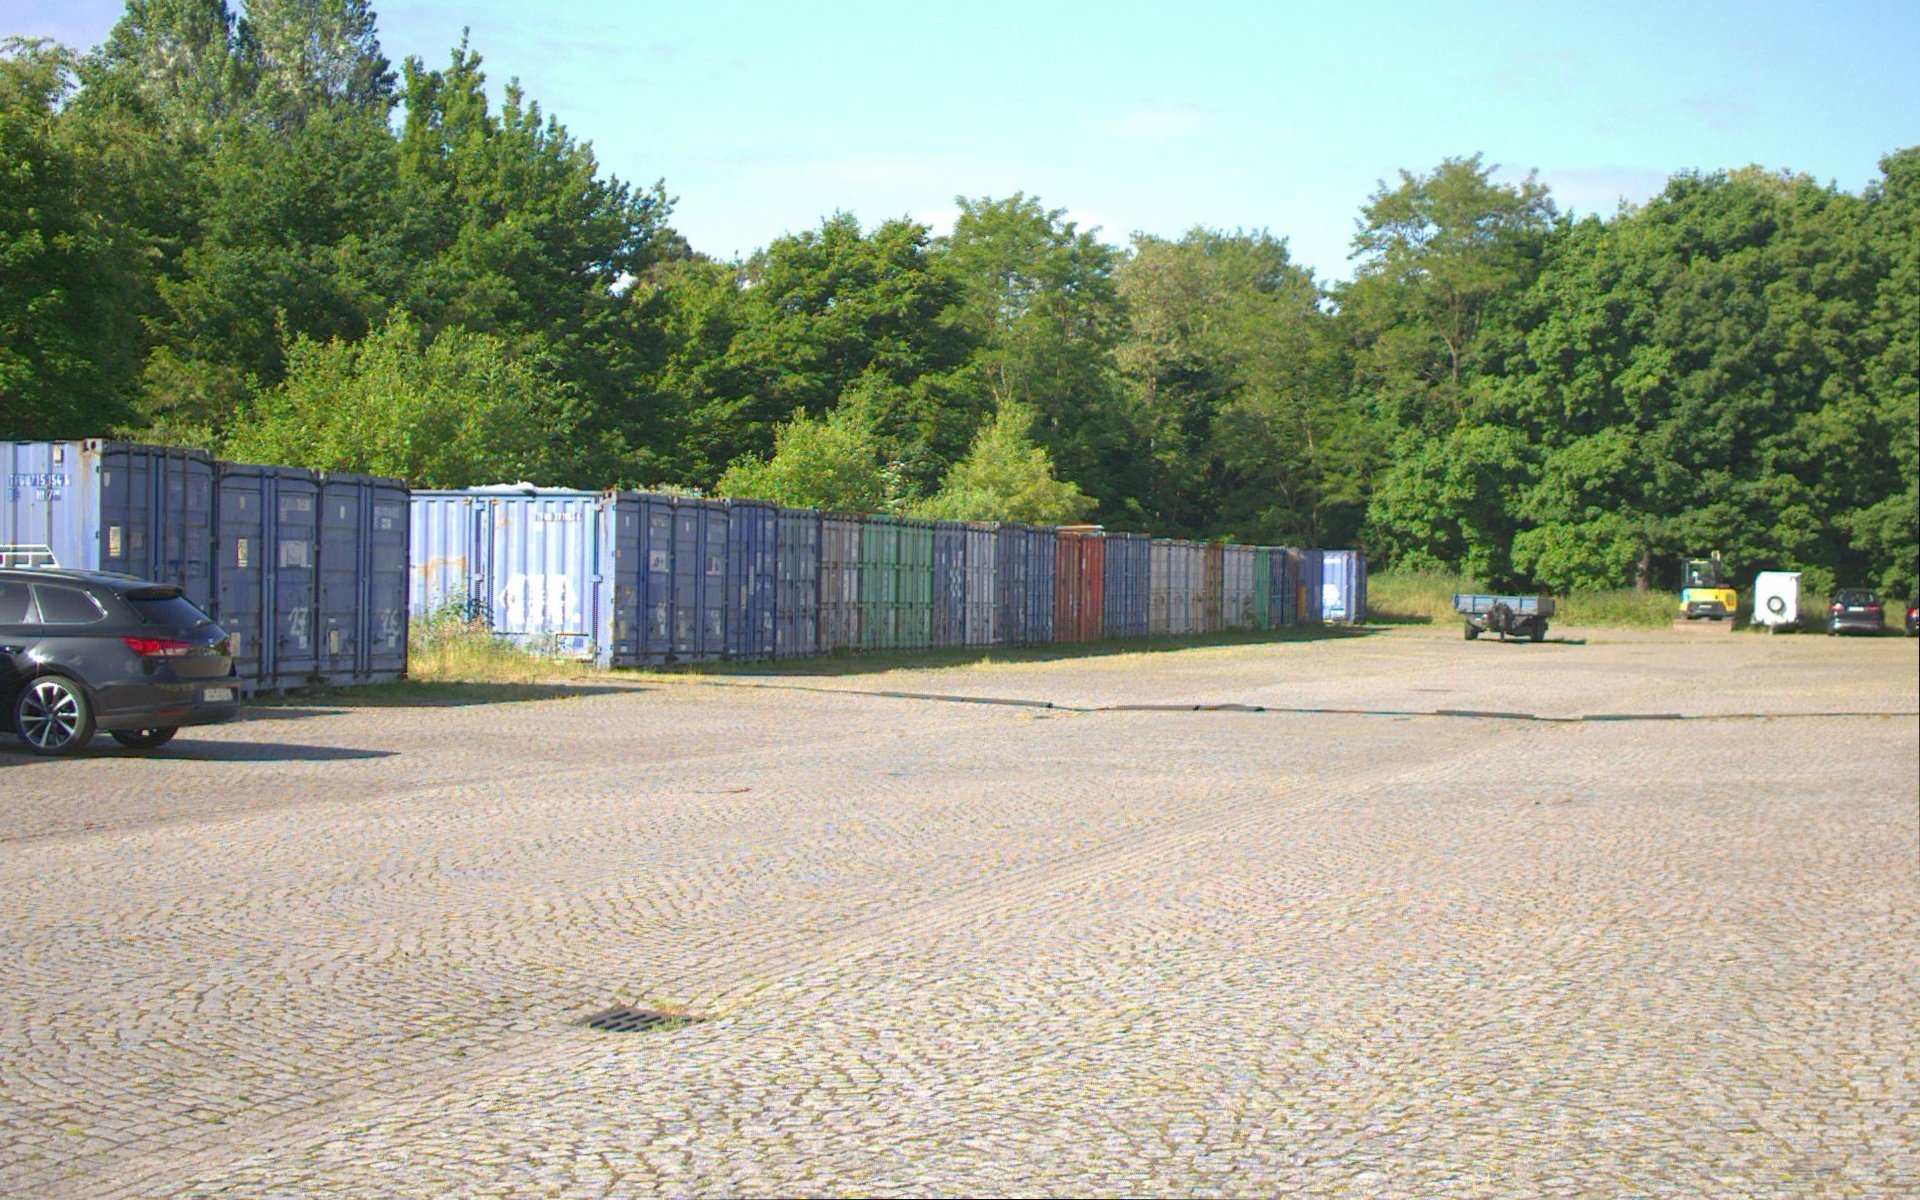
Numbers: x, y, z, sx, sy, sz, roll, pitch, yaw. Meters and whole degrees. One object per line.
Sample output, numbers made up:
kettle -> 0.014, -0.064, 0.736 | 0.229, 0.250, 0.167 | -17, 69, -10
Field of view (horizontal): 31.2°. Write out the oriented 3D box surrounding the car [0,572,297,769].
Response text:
car -> -7.713, 0.501, 27.557 | 4.254, 1.444, 1.930 | 2, 0, 14

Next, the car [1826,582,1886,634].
car -> 30.758, 0.257, 117.948 | 1.865, 1.584, 4.293 | 2, 2, 16

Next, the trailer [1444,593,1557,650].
trailer -> 16.356, 0.635, 103.758 | 2.707, 1.460, 6.243 | 2, 2, 15

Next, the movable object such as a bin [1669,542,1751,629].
movable object such as a bin -> 26.705, -0.557, 122.243 | 2.308, 2.887, 5.746 | 2, 2, 17

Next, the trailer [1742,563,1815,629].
trailer -> 28.822, -0.160, 120.999 | 2.195, 2.087, 5.747 | 2, 2, 16

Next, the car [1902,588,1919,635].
car -> 33.246, 0.415, 117.596 | 1.865, 1.465, 4.293 | 2, 2, 16
